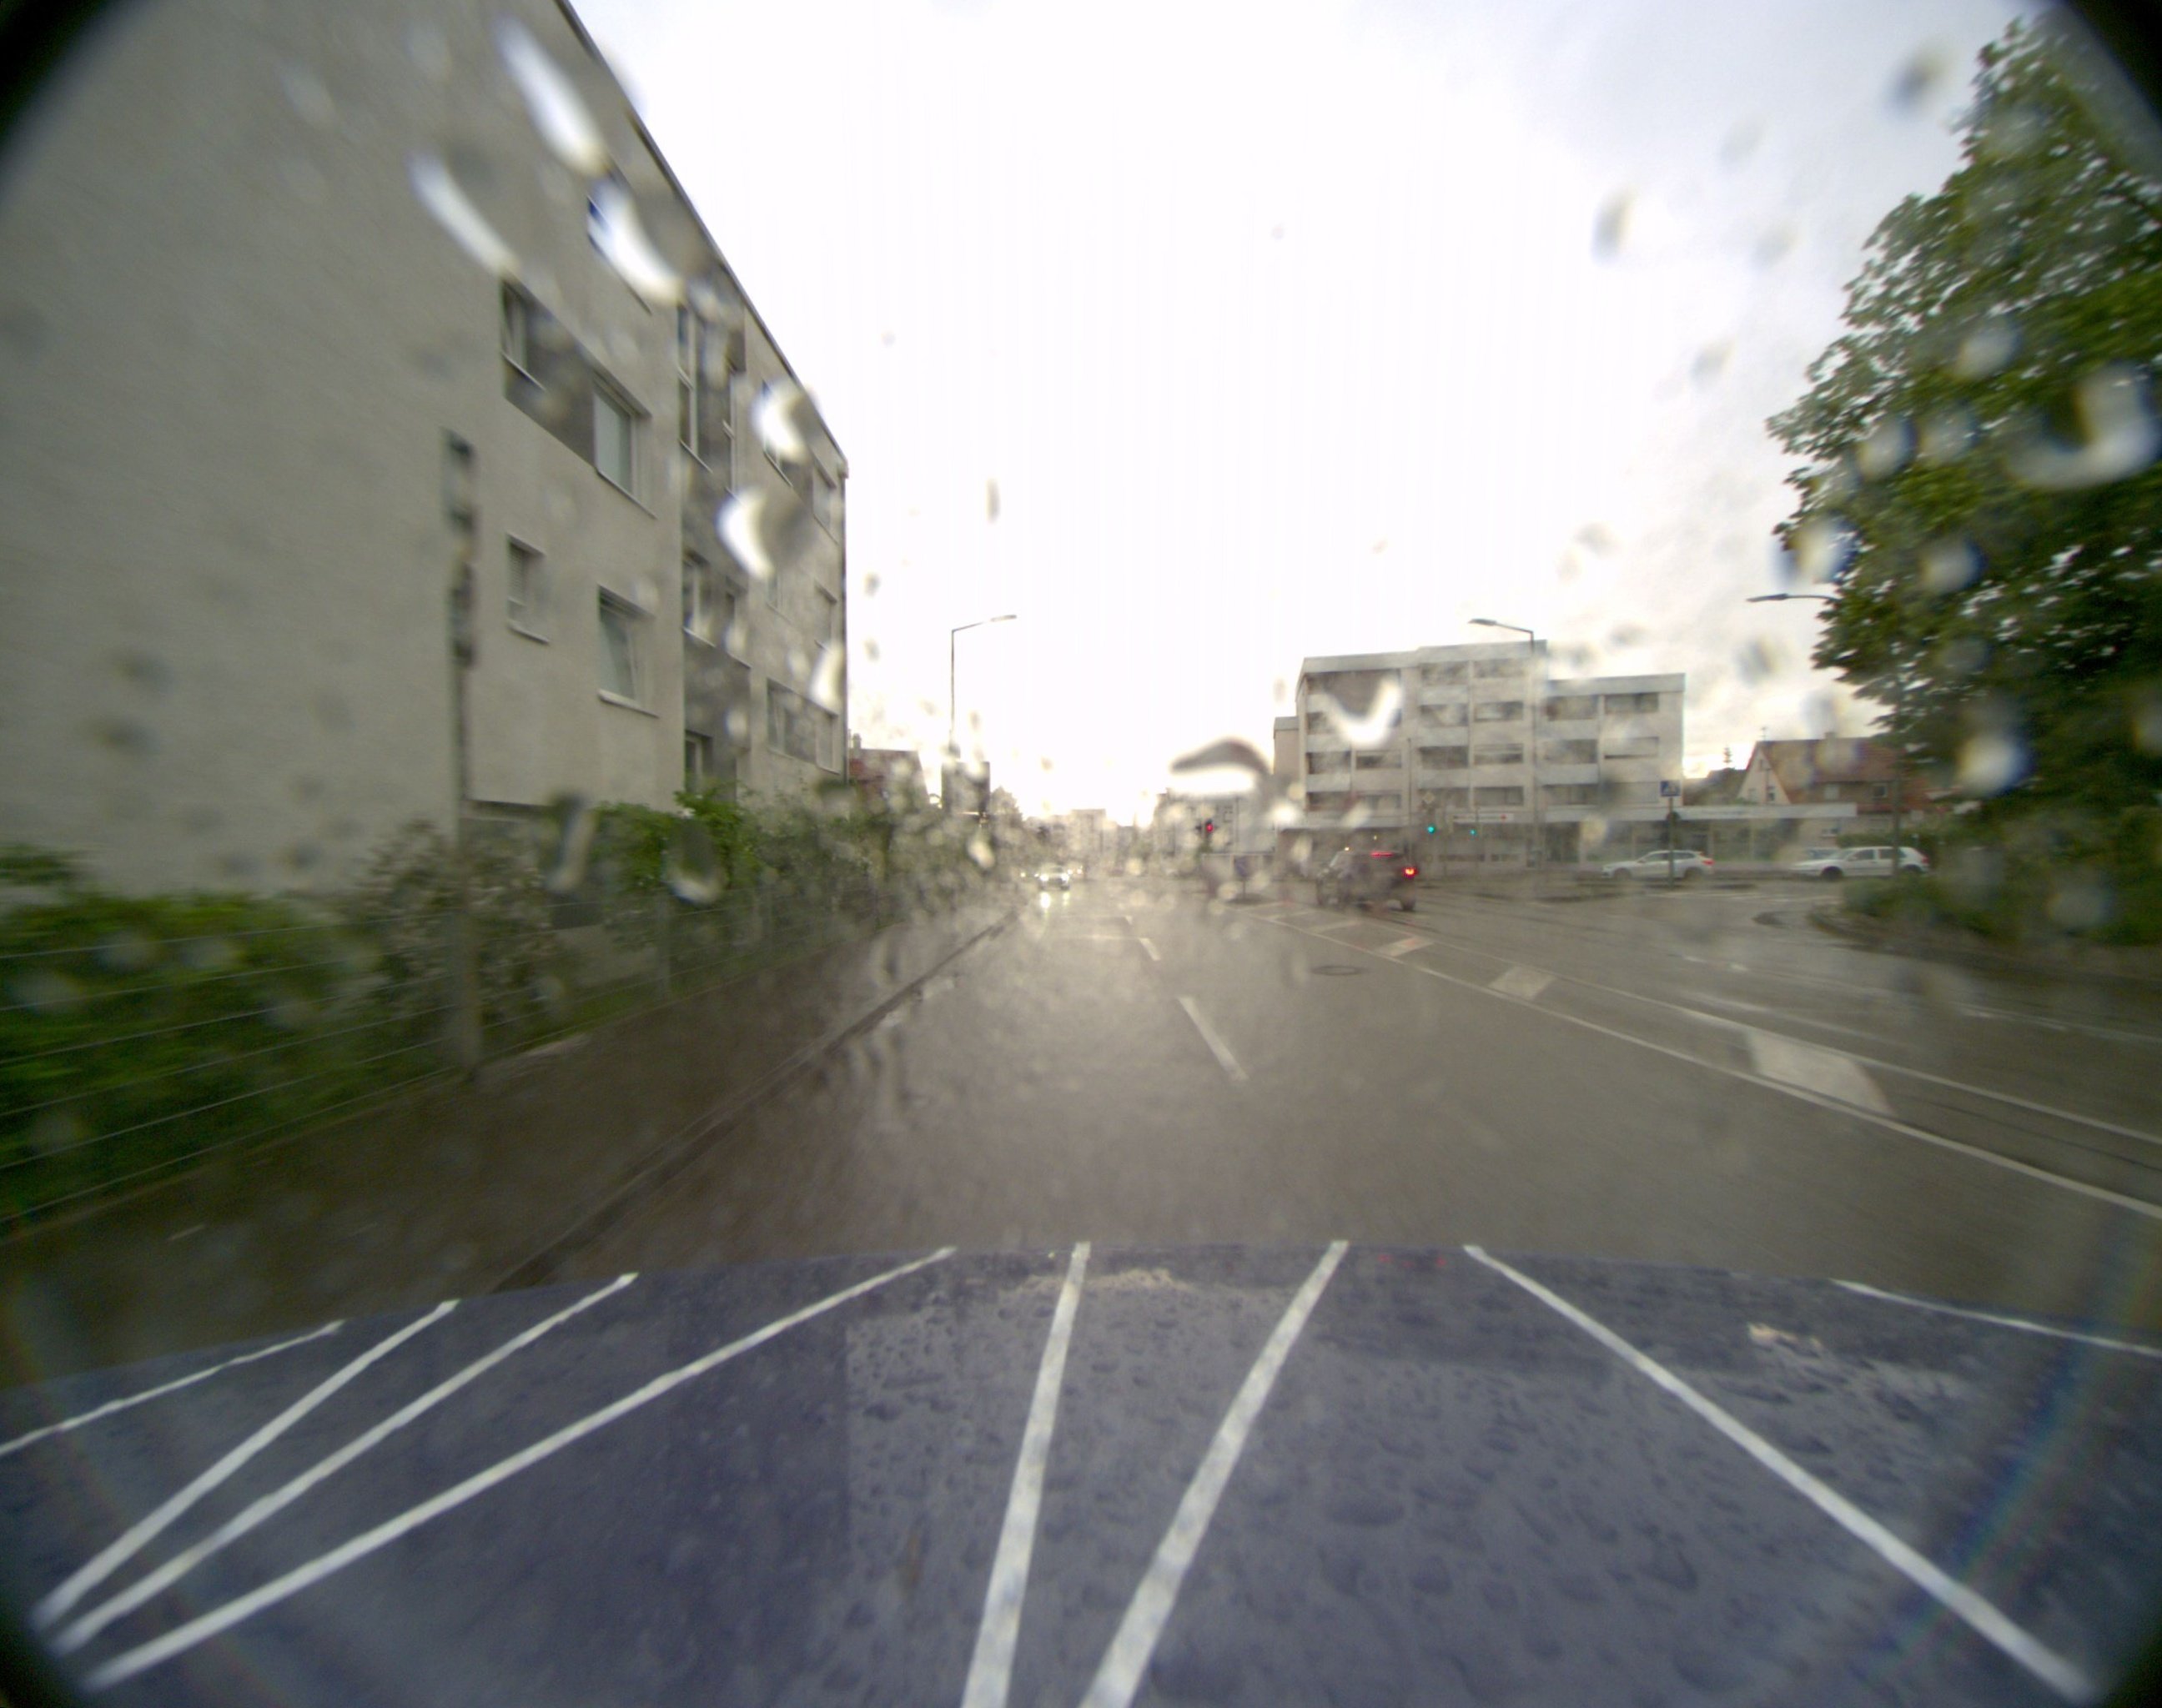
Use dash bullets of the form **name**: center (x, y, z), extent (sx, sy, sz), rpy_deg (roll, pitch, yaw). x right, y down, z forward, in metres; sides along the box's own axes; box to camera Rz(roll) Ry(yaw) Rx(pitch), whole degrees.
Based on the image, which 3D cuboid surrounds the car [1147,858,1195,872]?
- **car**: center (11.213, 1.385, 94.708), extent (5.468, 1.674, 2.151), rpy_deg (-1, -1, 19)

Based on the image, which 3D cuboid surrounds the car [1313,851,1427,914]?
- **car**: center (7.869, 0.723, 21.099), extent (1.806, 1.548, 4.320), rpy_deg (-2, 0, 5)

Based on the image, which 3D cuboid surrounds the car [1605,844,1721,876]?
- **car**: center (27.523, 0.298, 36.123), extent (4.276, 1.426, 1.838), rpy_deg (-2, 0, 34)

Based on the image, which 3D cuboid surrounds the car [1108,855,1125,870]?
- **car**: center (5.169, 1.231, 111.209), extent (1.999, 2.001, 4.652), rpy_deg (-1, -1, -1)

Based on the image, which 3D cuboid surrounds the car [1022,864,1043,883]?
- **car**: center (-4.848, 1.931, 76.354), extent (1.999, 1.849, 3.999), rpy_deg (1, 0, -2)

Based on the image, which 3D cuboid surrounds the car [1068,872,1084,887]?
- **car**: center (-0.529, 2.775, 84.624), extent (1.651, 1.547, 3.351), rpy_deg (-1, 0, 0)

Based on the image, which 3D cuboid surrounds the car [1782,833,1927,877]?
- **car**: center (32.837, 0.046, 32.390), extent (3.911, 1.722, 1.837), rpy_deg (-2, 0, 17)

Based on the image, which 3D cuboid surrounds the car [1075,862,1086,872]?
- **car**: center (-0.031, 2.350, 141.983), extent (1.998, 1.849, 4.000), rpy_deg (1, 0, 1)

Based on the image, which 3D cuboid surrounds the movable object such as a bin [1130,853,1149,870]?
- **movable object such as a bin**: center (10.046, 1.331, 130.434), extent (2.922, 2.824, 2.200), rpy_deg (-1, 0, 17)

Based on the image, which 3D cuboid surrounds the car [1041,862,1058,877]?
- **car**: center (-3.979, 1.937, 97.093), extent (1.999, 1.849, 4.000), rpy_deg (1, 0, 0)

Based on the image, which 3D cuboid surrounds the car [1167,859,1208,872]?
- **car**: center (12.612, 1.367, 90.139), extent (4.622, 1.487, 1.930), rpy_deg (-1, 0, 4)

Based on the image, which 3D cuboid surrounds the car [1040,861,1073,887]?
- **car**: center (-1.436, 1.146, 45.997), extent (1.830, 1.431, 4.344), rpy_deg (-2, 0, -1)
